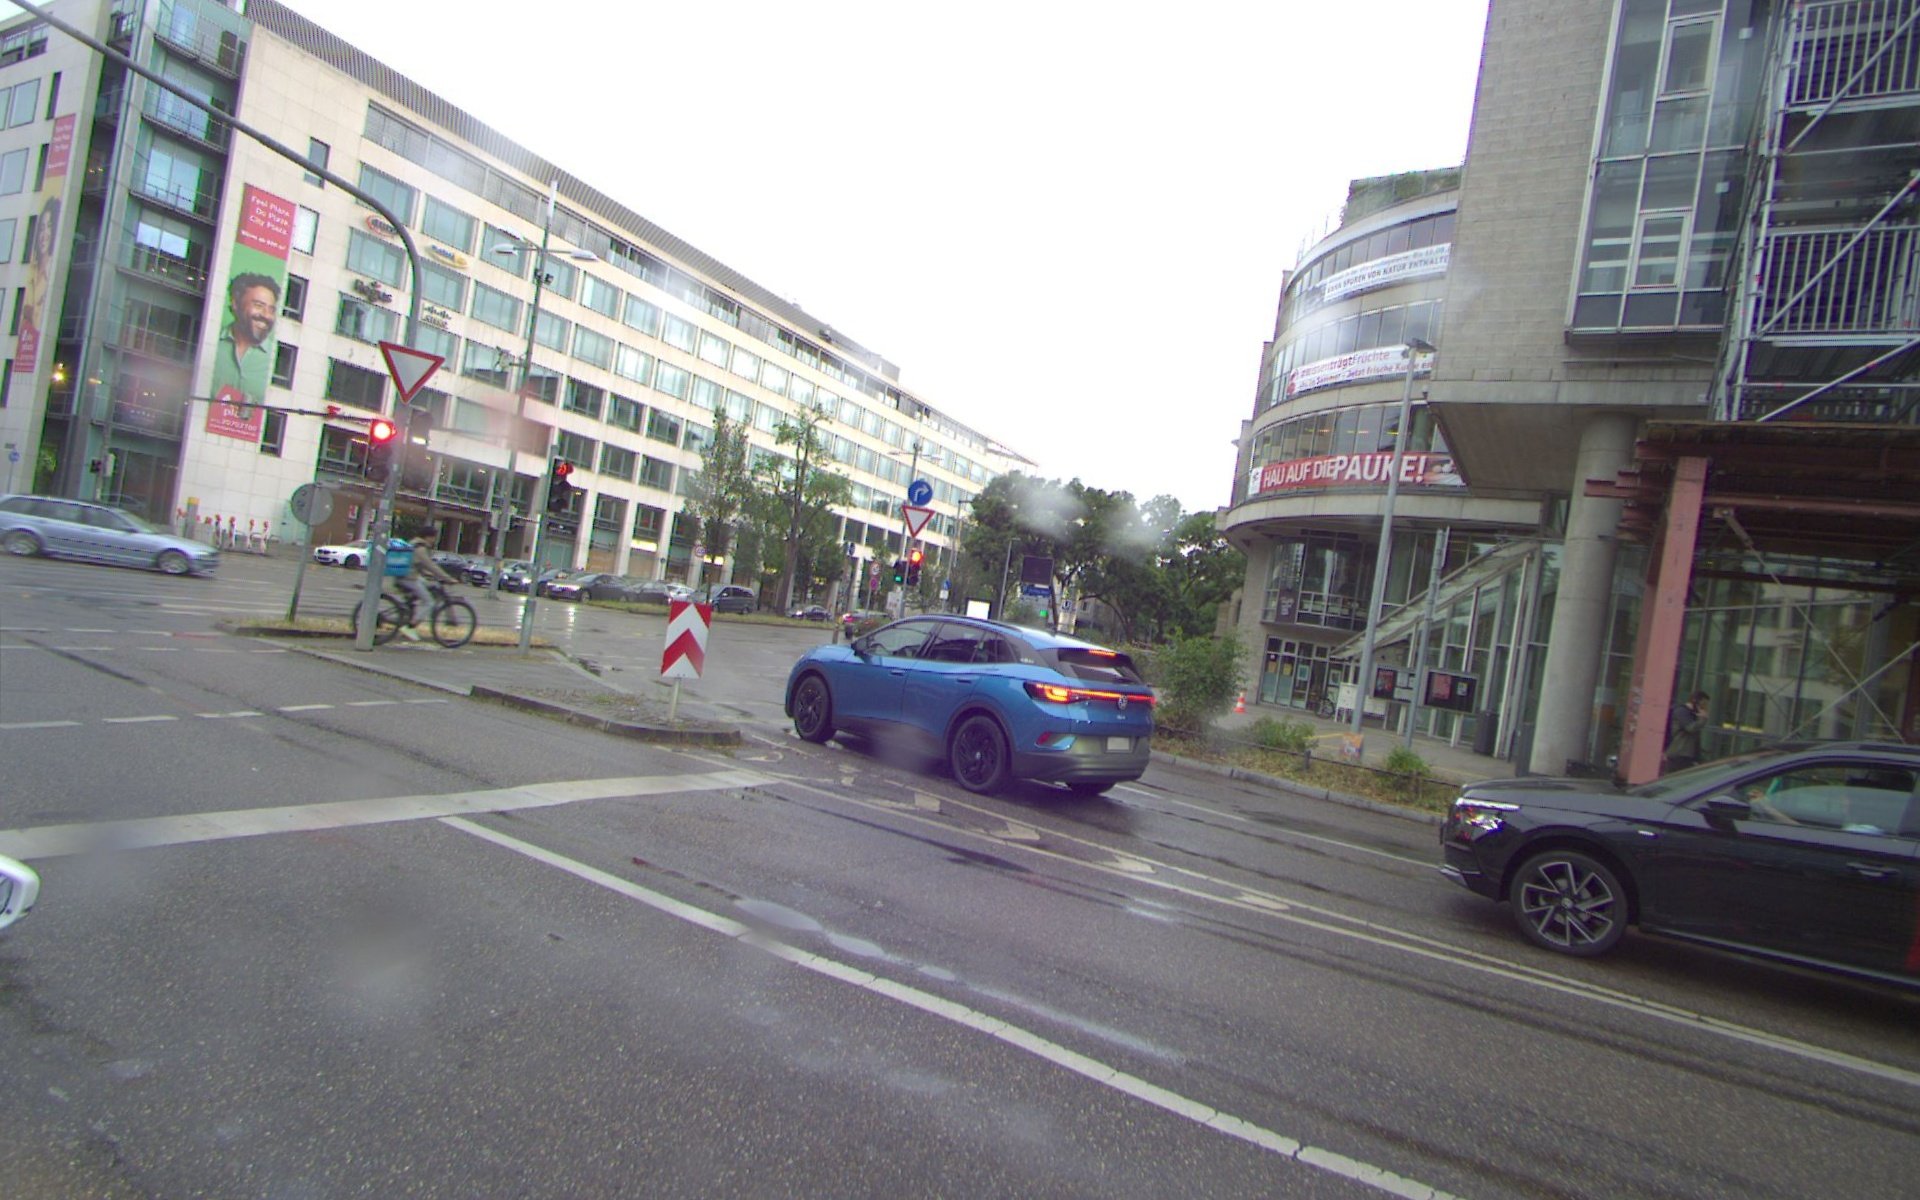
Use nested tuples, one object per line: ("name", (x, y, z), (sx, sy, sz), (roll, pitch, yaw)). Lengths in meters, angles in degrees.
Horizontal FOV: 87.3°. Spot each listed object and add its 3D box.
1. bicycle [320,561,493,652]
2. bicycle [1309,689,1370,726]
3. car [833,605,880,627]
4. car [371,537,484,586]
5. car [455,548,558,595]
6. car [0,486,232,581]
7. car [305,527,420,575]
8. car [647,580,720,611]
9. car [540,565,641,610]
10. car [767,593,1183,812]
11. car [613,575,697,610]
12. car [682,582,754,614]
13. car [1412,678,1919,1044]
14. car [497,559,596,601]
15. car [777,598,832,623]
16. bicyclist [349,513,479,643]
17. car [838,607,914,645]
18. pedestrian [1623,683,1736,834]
("bicycle", (-8.101, 0.142, 14.859), (0.832, 1.116, 2.154), (7, -1, 18))
("bicycle", (13.426, 3.791, 35.627), (1.816, 0.995, 0.757), (8, -1, 12))
("car", (-9.124, 1.446, 89.038), (1.892, 1.364, 4.650), (7, -2, 24))
("car", (-25.196, -1.794, 47.792), (1.963, 1.616, 4.468), (7, -1, 20))
("car", (-21.867, -1.332, 48.719), (1.962, 1.616, 4.469), (7, -1, 17))
("car", (-20.147, -1.553, 23.739), (4.413, 1.504, 1.986), (9, 0, -27))
("car", (-28.614, -2.297, 48.375), (1.962, 1.616, 4.469), (7, -1, 17))
("car", (-17.068, -0.266, 62.318), (1.891, 1.364, 4.653), (7, -2, 21))
("car", (-16.501, -0.527, 45.150), (1.690, 1.481, 4.468), (7, -2, 19))
("car", (-0.052, 0.946, 10.611), (1.699, 1.547, 4.373), (9, -2, -43))
("car", (-16.457, -0.378, 54.599), (1.891, 1.364, 4.654), (7, -2, 19))
("car", (-14.371, -0.081, 60.082), (1.891, 1.364, 4.654), (7, -2, 19))
("car", (5.204, 1.568, 6.160), (4.080, 1.558, 1.780), (7, -1, 34))
("car", (-19.089, -0.889, 46.667), (1.690, 1.364, 4.469), (7, -2, 17))
("car", (-11.686, 0.794, 75.957), (1.891, 1.364, 4.653), (7, -2, 21))
("bicyclist", (-8.036, -0.292, 14.876), (0.832, 1.724, 1.300), (7, -1, 17))
("car", (-4.400, 1.428, 53.525), (1.964, 1.568, 4.556), (7, -1, 23))
("pedestrian", (9.976, 2.169, 13.962), (1.042, 1.874, 0.679), (7, 0, 42))
